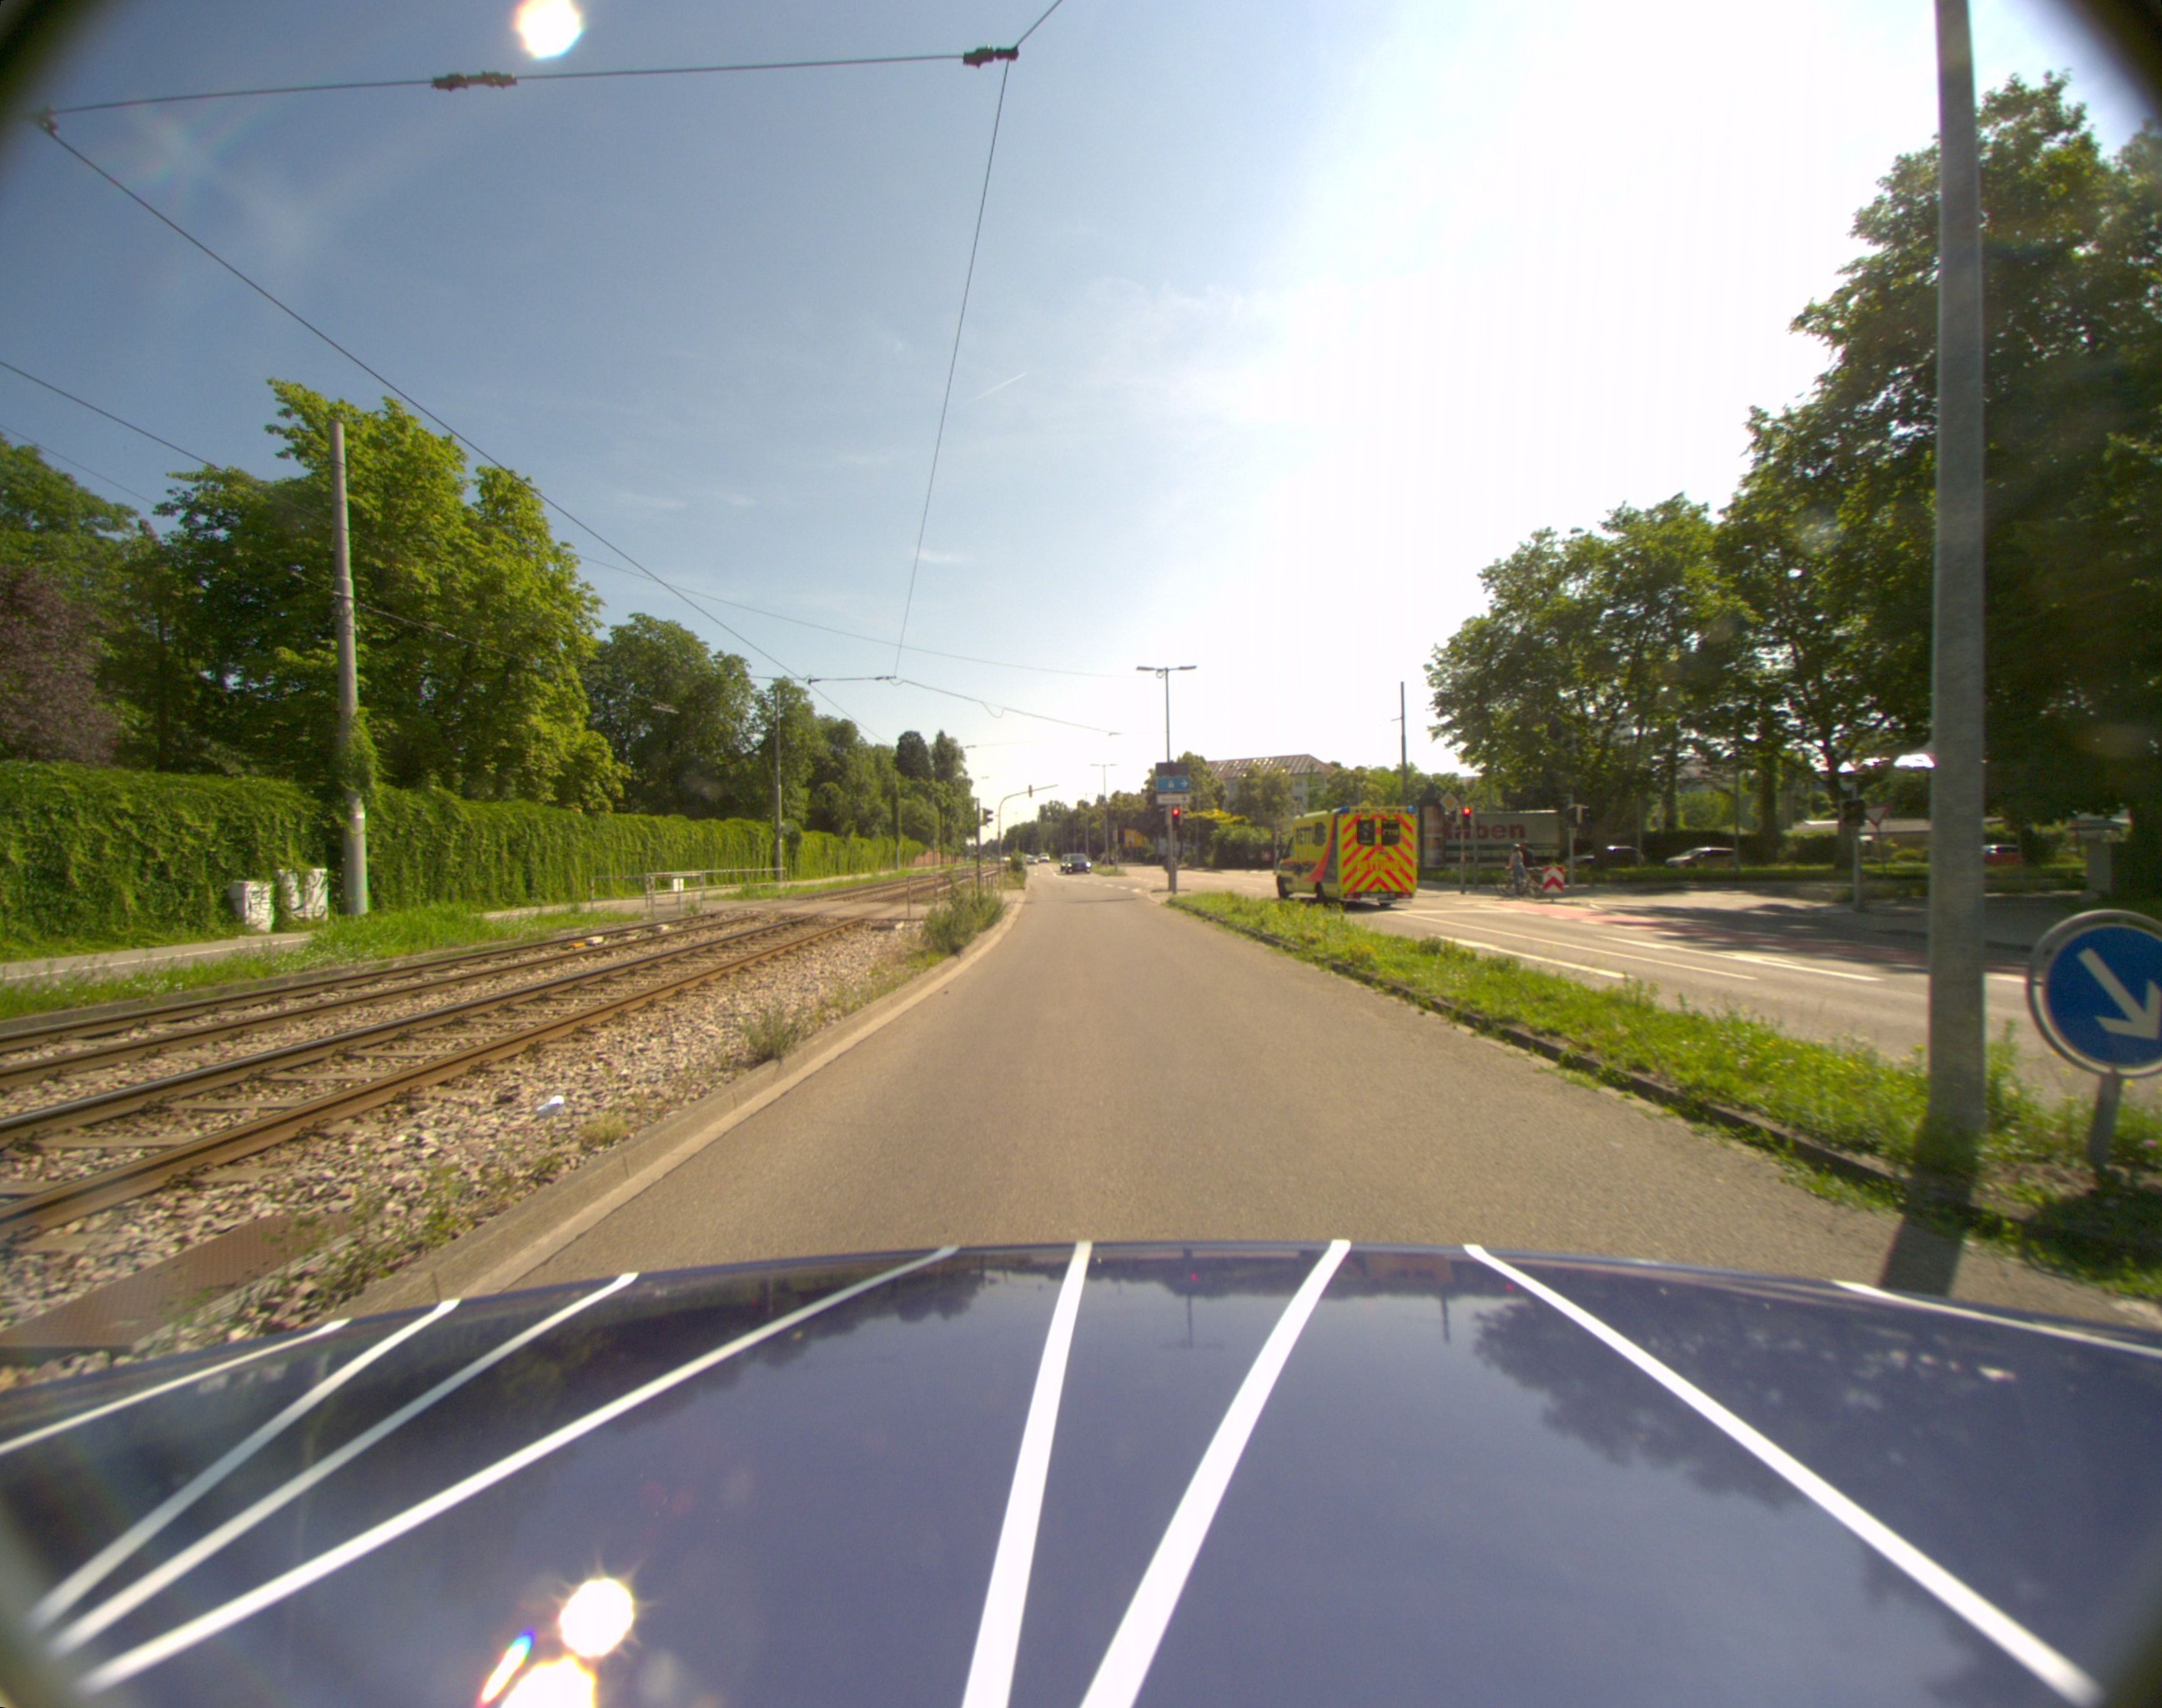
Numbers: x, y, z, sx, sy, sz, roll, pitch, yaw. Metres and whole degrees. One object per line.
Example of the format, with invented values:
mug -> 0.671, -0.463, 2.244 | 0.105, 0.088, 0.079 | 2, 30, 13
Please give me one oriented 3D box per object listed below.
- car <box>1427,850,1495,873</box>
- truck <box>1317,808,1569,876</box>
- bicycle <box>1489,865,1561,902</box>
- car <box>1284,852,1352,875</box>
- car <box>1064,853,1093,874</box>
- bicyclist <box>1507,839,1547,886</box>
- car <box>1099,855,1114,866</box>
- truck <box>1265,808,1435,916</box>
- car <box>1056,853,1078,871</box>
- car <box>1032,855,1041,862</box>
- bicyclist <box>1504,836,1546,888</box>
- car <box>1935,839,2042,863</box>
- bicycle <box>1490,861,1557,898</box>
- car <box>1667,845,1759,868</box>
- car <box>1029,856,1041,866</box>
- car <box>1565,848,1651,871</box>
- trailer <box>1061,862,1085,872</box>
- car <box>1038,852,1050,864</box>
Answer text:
car -> 25.576, 0.515, 51.260 | 3.734, 1.425, 1.635 | -2, -1, 6
truck -> 22.470, -0.691, 47.774 | 14.289, 3.984, 2.855 | -1, 1, 4
bicycle -> 13.772, 0.889, 23.641 | 0.753, 1.052, 2.073 | -1, 0, -11
car -> 16.490, 0.662, 52.808 | 4.388, 1.501, 1.759 | -2, -1, 21
car -> -0.244, 0.713, 60.694 | 1.756, 1.573, 4.502 | -1, 0, -7
bicyclist -> 13.753, 0.256, 23.453 | 0.710, 1.412, 0.739 | -2, -1, -10
car -> 3.891, 0.985, 117.395 | 1.756, 1.573, 4.503 | 0, 0, -5
truck -> 7.532, 0.184, 22.411 | 2.336, 2.652, 7.358 | 0, 0, -1
car -> -1.338, 0.728, 72.028 | 1.756, 1.573, 4.503 | -1, 0, -5
car -> -10.481, 0.973, 180.362 | 1.931, 1.593, 4.466 | -2, 0, -5
bicyclist -> 14.765, 0.275, 25.301 | 0.837, 1.664, 0.827 | -2, -1, -2
car -> 58.132, -0.167, 48.742 | 4.366, 1.360, 1.757 | -2, -1, 6
bicycle -> 14.780, 0.824, 25.459 | 0.940, 1.168, 2.211 | -1, 0, 0
car -> 41.286, 0.173, 49.710 | 4.366, 1.360, 1.757 | -2, -1, 6
car -> -7.823, 1.224, 129.637 | 1.931, 1.593, 4.466 | -2, 0, -4
car -> 34.799, 0.365, 50.283 | 4.366, 1.360, 1.757 | -2, -1, 6
trailer -> -0.699, 1.083, 64.444 | 1.756, 0.813, 3.068 | -1, 0, -7
car -> -7.790, 0.829, 161.045 | 2.265, 2.336, 5.228 | -2, 0, -5
